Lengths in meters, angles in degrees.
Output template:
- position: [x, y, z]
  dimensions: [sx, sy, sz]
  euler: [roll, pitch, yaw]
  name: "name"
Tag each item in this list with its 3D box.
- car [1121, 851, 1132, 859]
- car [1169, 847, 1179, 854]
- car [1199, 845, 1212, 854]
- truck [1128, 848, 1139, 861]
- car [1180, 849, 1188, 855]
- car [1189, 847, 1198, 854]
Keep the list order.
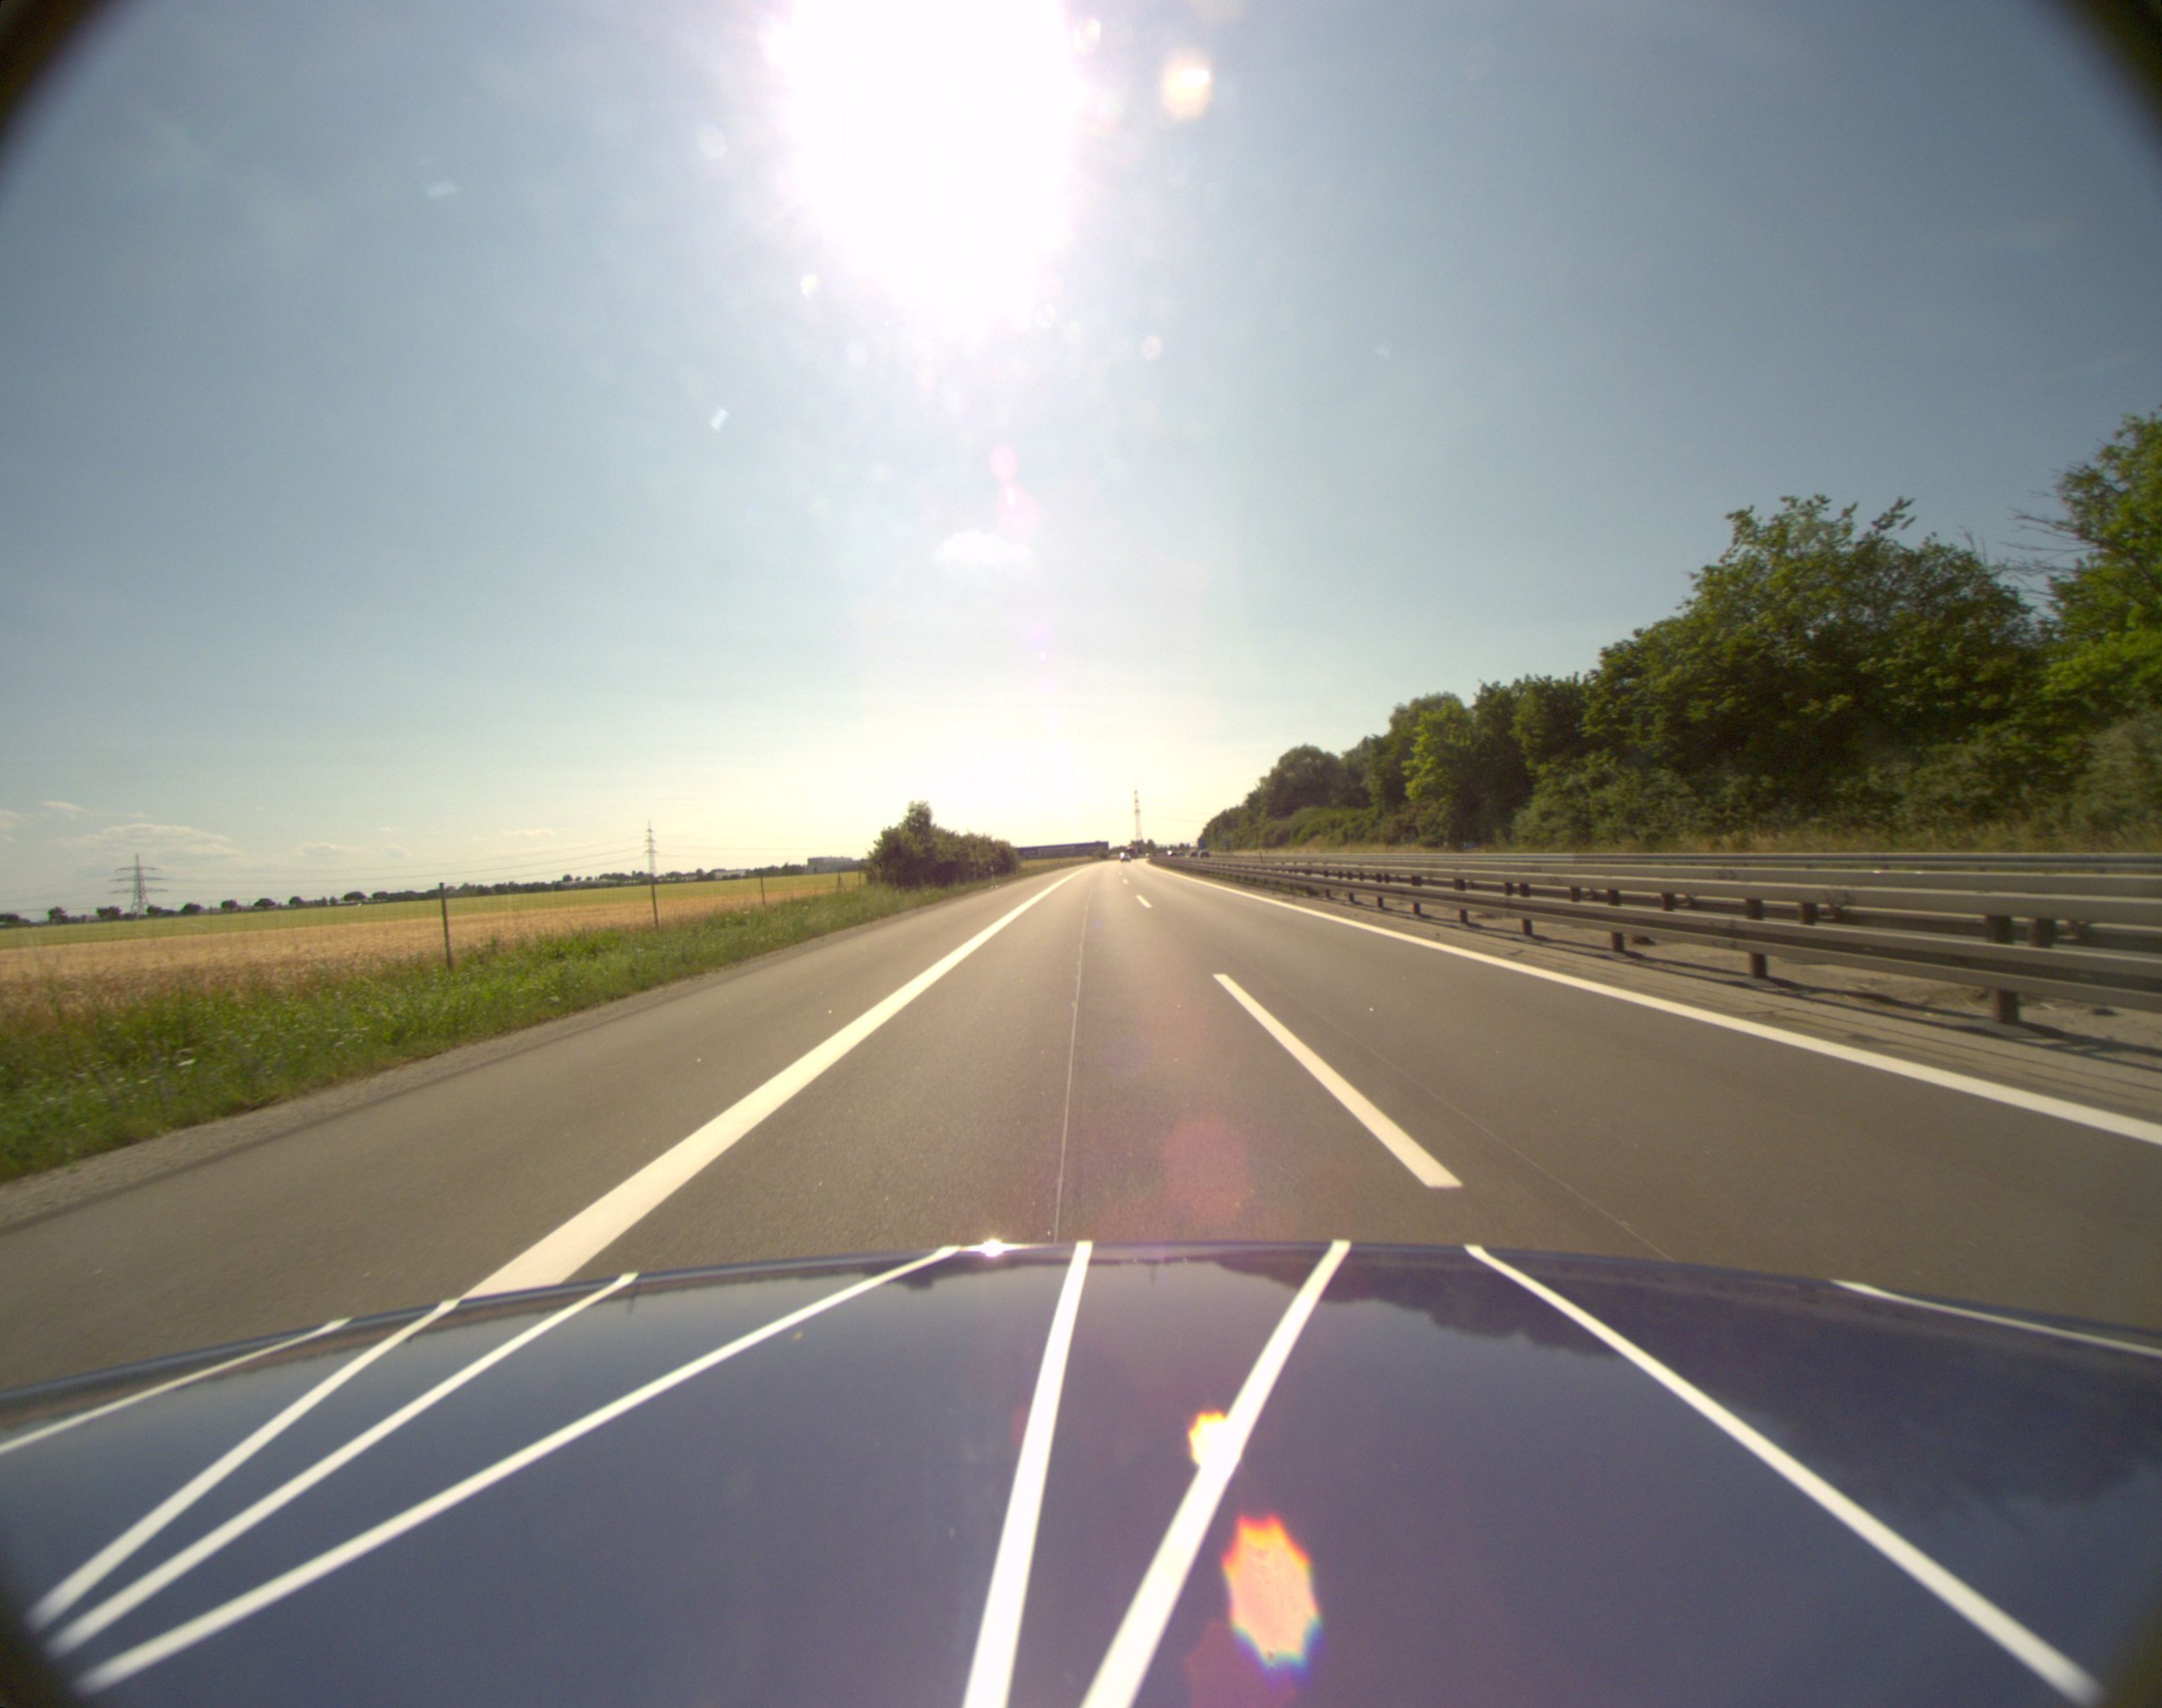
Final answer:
- position: [8.509, 0.226, 142.974]
  dimensions: [1.859, 1.361, 4.001]
  euler: [-3, 0, 6]
  name: "car"
- position: [19.047, -0.750, 156.493]
  dimensions: [1.666, 1.414, 4.000]
  euler: [-3, 0, 2]
  name: "car"
- position: [20.215, -0.765, 123.526]
  dimensions: [1.666, 1.414, 4.000]
  euler: [-3, 0, 2]
  name: "car"
- position: [16.377, 0.113, 237.720]
  dimensions: [2.569, 3.938, 8.648]
  euler: [-5, 0, 8]
  name: "truck"
- position: [30.288, -0.651, 223.962]
  dimensions: [1.755, 1.555, 4.581]
  euler: [-3, 0, 3]
  name: "car"
- position: [22.413, -0.710, 151.402]
  dimensions: [1.581, 1.453, 4.154]
  euler: [-3, 0, 5]
  name: "car"
